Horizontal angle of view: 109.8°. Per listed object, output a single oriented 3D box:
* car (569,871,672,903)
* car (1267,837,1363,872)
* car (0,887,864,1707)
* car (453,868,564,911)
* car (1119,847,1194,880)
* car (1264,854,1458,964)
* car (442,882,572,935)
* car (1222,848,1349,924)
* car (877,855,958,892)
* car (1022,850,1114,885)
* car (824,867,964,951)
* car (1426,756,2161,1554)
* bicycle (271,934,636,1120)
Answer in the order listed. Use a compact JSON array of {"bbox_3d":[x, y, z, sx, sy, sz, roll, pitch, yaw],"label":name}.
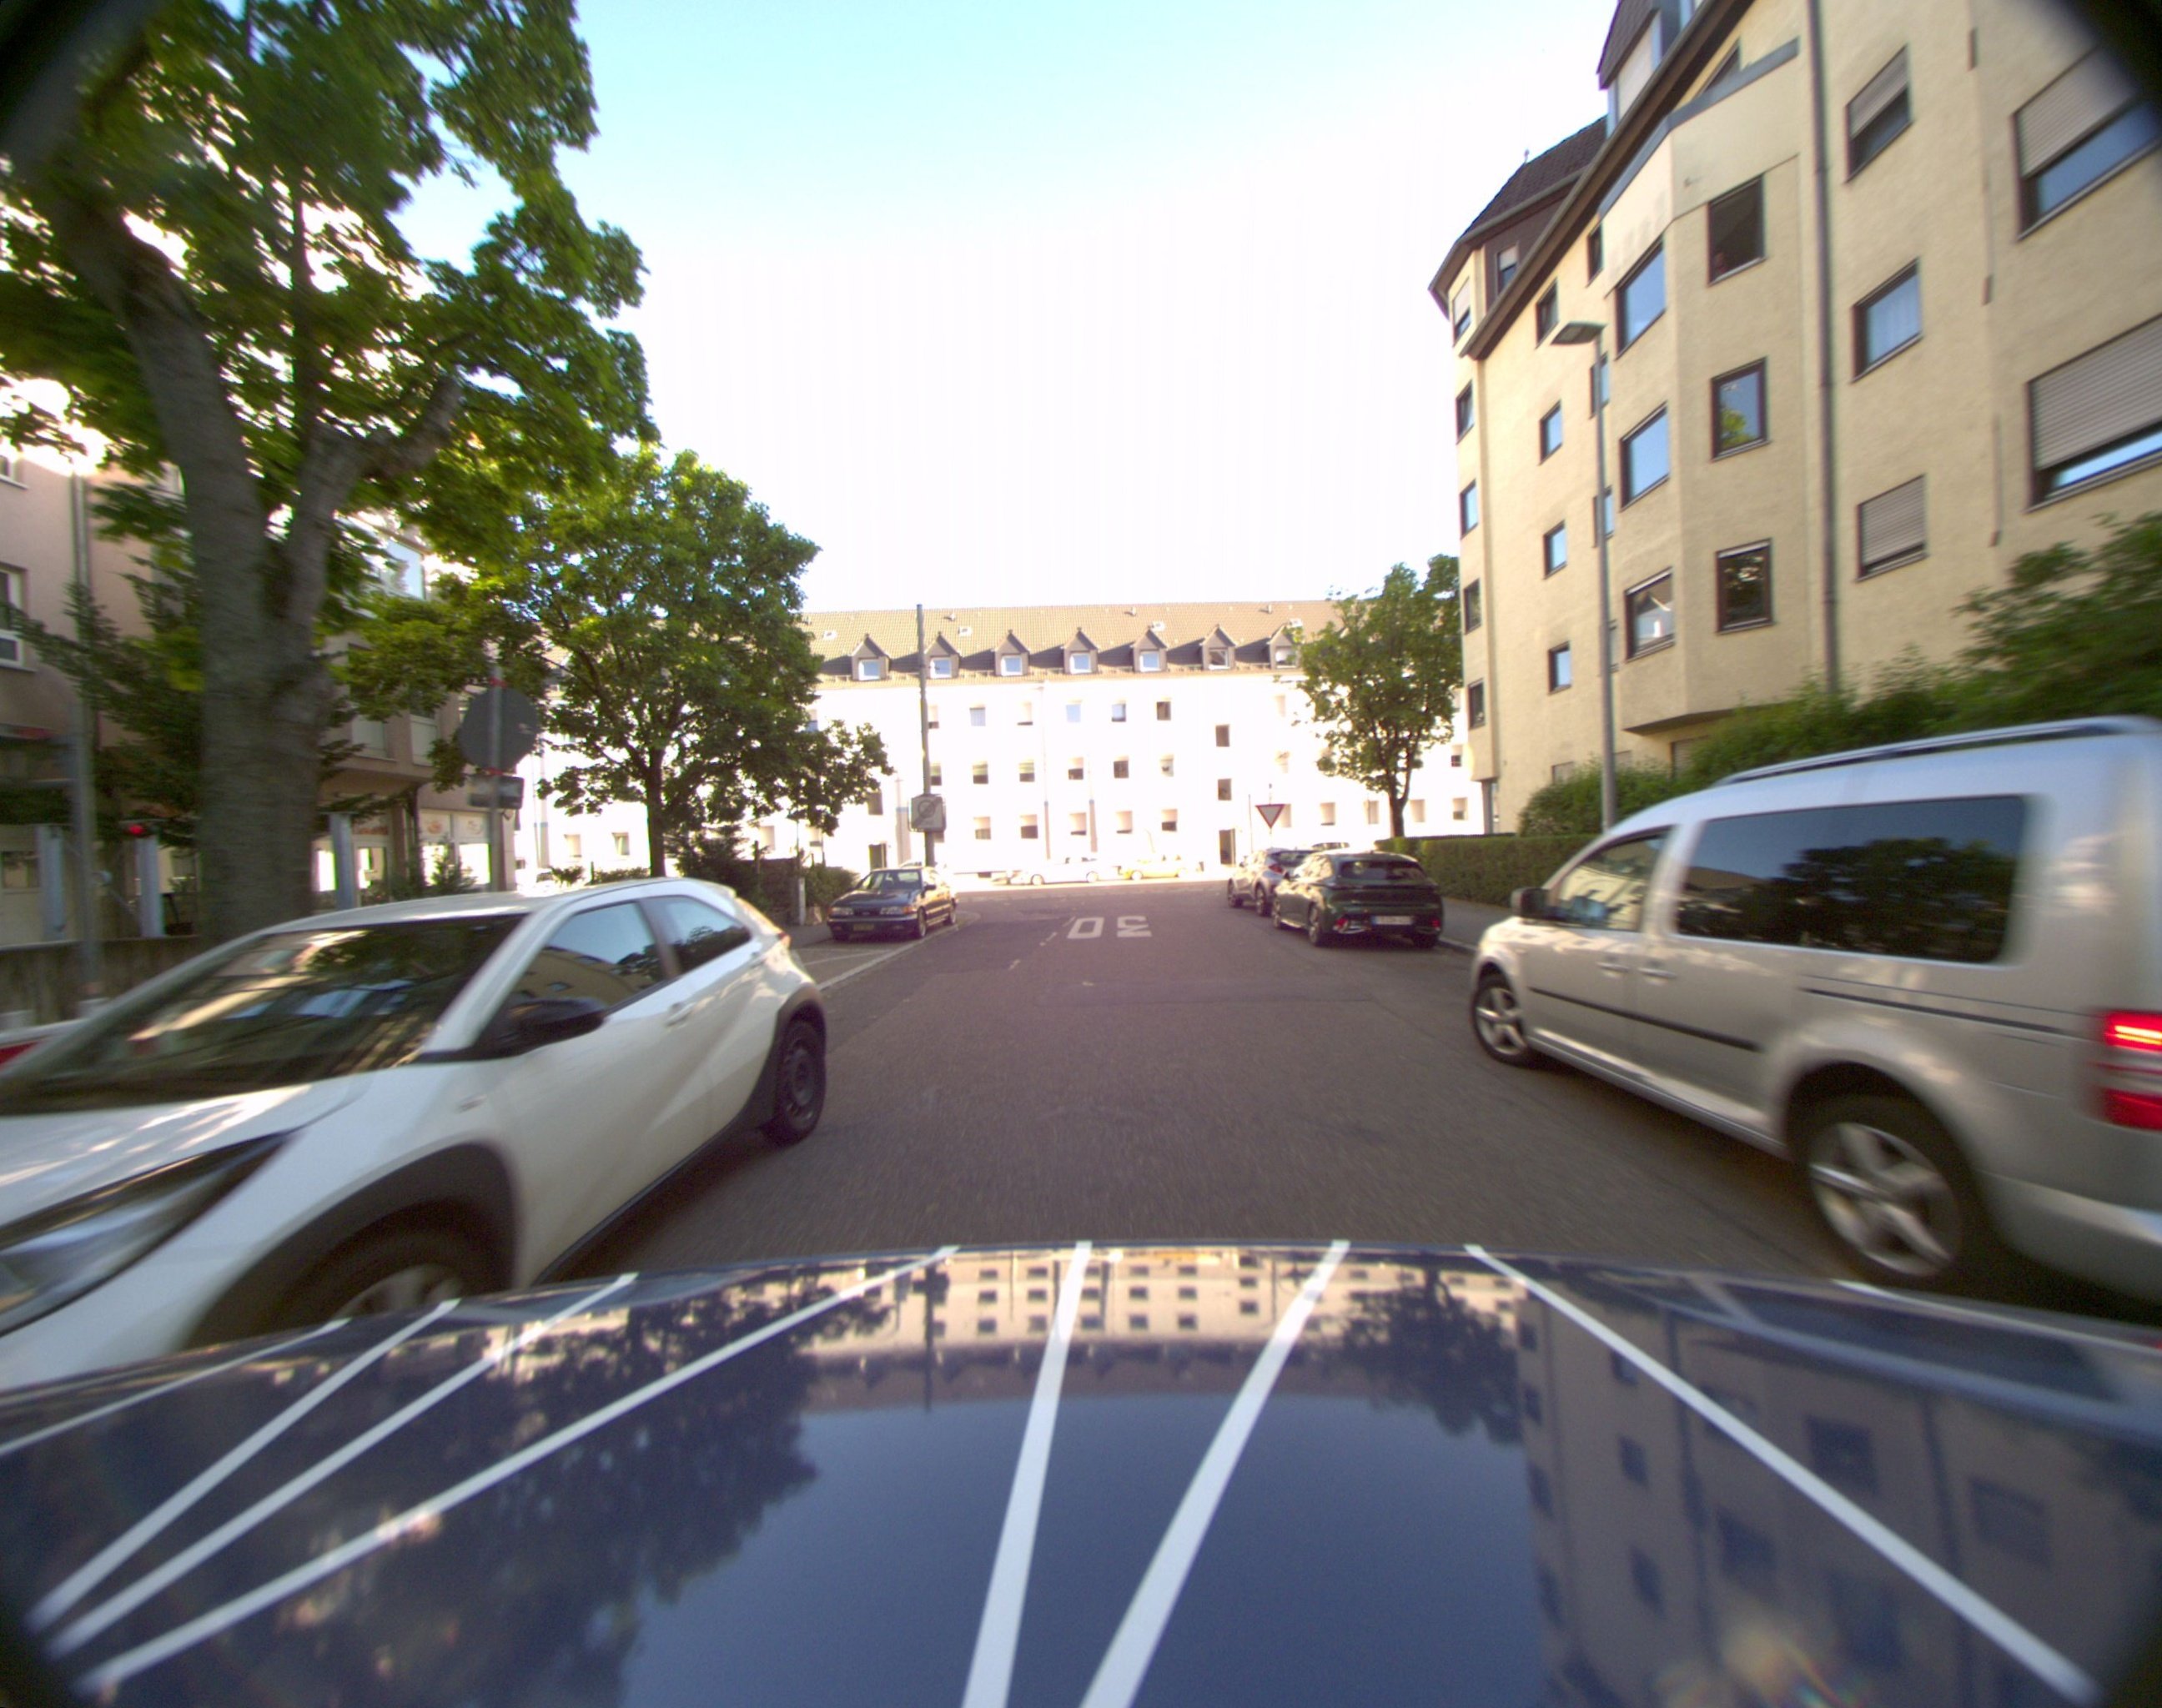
[{"bbox_3d":[-22.680,1.604,37.531,3.998,1.344,1.550,-3,1,-4],"label":"car"},{"bbox_3d":[12.245,-0.001,39.900,4.284,1.548,1.999,-3,1,-6],"label":"car"},{"bbox_3d":[-2.476,1.048,2.879,1.806,1.527,3.965,-4,1,5],"label":"car"},{"bbox_3d":[-28.081,1.722,37.381,3.998,1.771,1.694,-3,0,-3],"label":"car"},{"bbox_3d":[3.870,0.462,39.229,3.612,1.440,1.553,-3,2,-5],"label":"car"},{"bbox_3d":[4.308,0.749,12.434,1.770,1.444,4.207,1,0,2],"label":"car"},{"bbox_3d":[-17.691,1.670,23.501,2.880,1.348,1.262,-3,2,-8],"label":"car"},{"bbox_3d":[4.616,0.645,17.778,1.723,1.546,4.072,-1,1,-2],"label":"car"},{"bbox_3d":[-8.180,0.961,38.311,3.705,1.598,1.648,-3,1,-5],"label":"car"},{"bbox_3d":[-0.692,0.664,38.879,4.492,1.498,1.944,-3,1,-3],"label":"car"},{"bbox_3d":[-3.755,1.034,16.119,1.665,1.399,4.507,0,1,3],"label":"car"},{"bbox_3d":[3.465,0.650,3.677,1.775,1.833,4.416,0,1,3],"label":"car"},{"bbox_3d":[-4.550,1.227,5.676,1.973,1.148,0.751,1,1,-11],"label":"bicycle"}]
